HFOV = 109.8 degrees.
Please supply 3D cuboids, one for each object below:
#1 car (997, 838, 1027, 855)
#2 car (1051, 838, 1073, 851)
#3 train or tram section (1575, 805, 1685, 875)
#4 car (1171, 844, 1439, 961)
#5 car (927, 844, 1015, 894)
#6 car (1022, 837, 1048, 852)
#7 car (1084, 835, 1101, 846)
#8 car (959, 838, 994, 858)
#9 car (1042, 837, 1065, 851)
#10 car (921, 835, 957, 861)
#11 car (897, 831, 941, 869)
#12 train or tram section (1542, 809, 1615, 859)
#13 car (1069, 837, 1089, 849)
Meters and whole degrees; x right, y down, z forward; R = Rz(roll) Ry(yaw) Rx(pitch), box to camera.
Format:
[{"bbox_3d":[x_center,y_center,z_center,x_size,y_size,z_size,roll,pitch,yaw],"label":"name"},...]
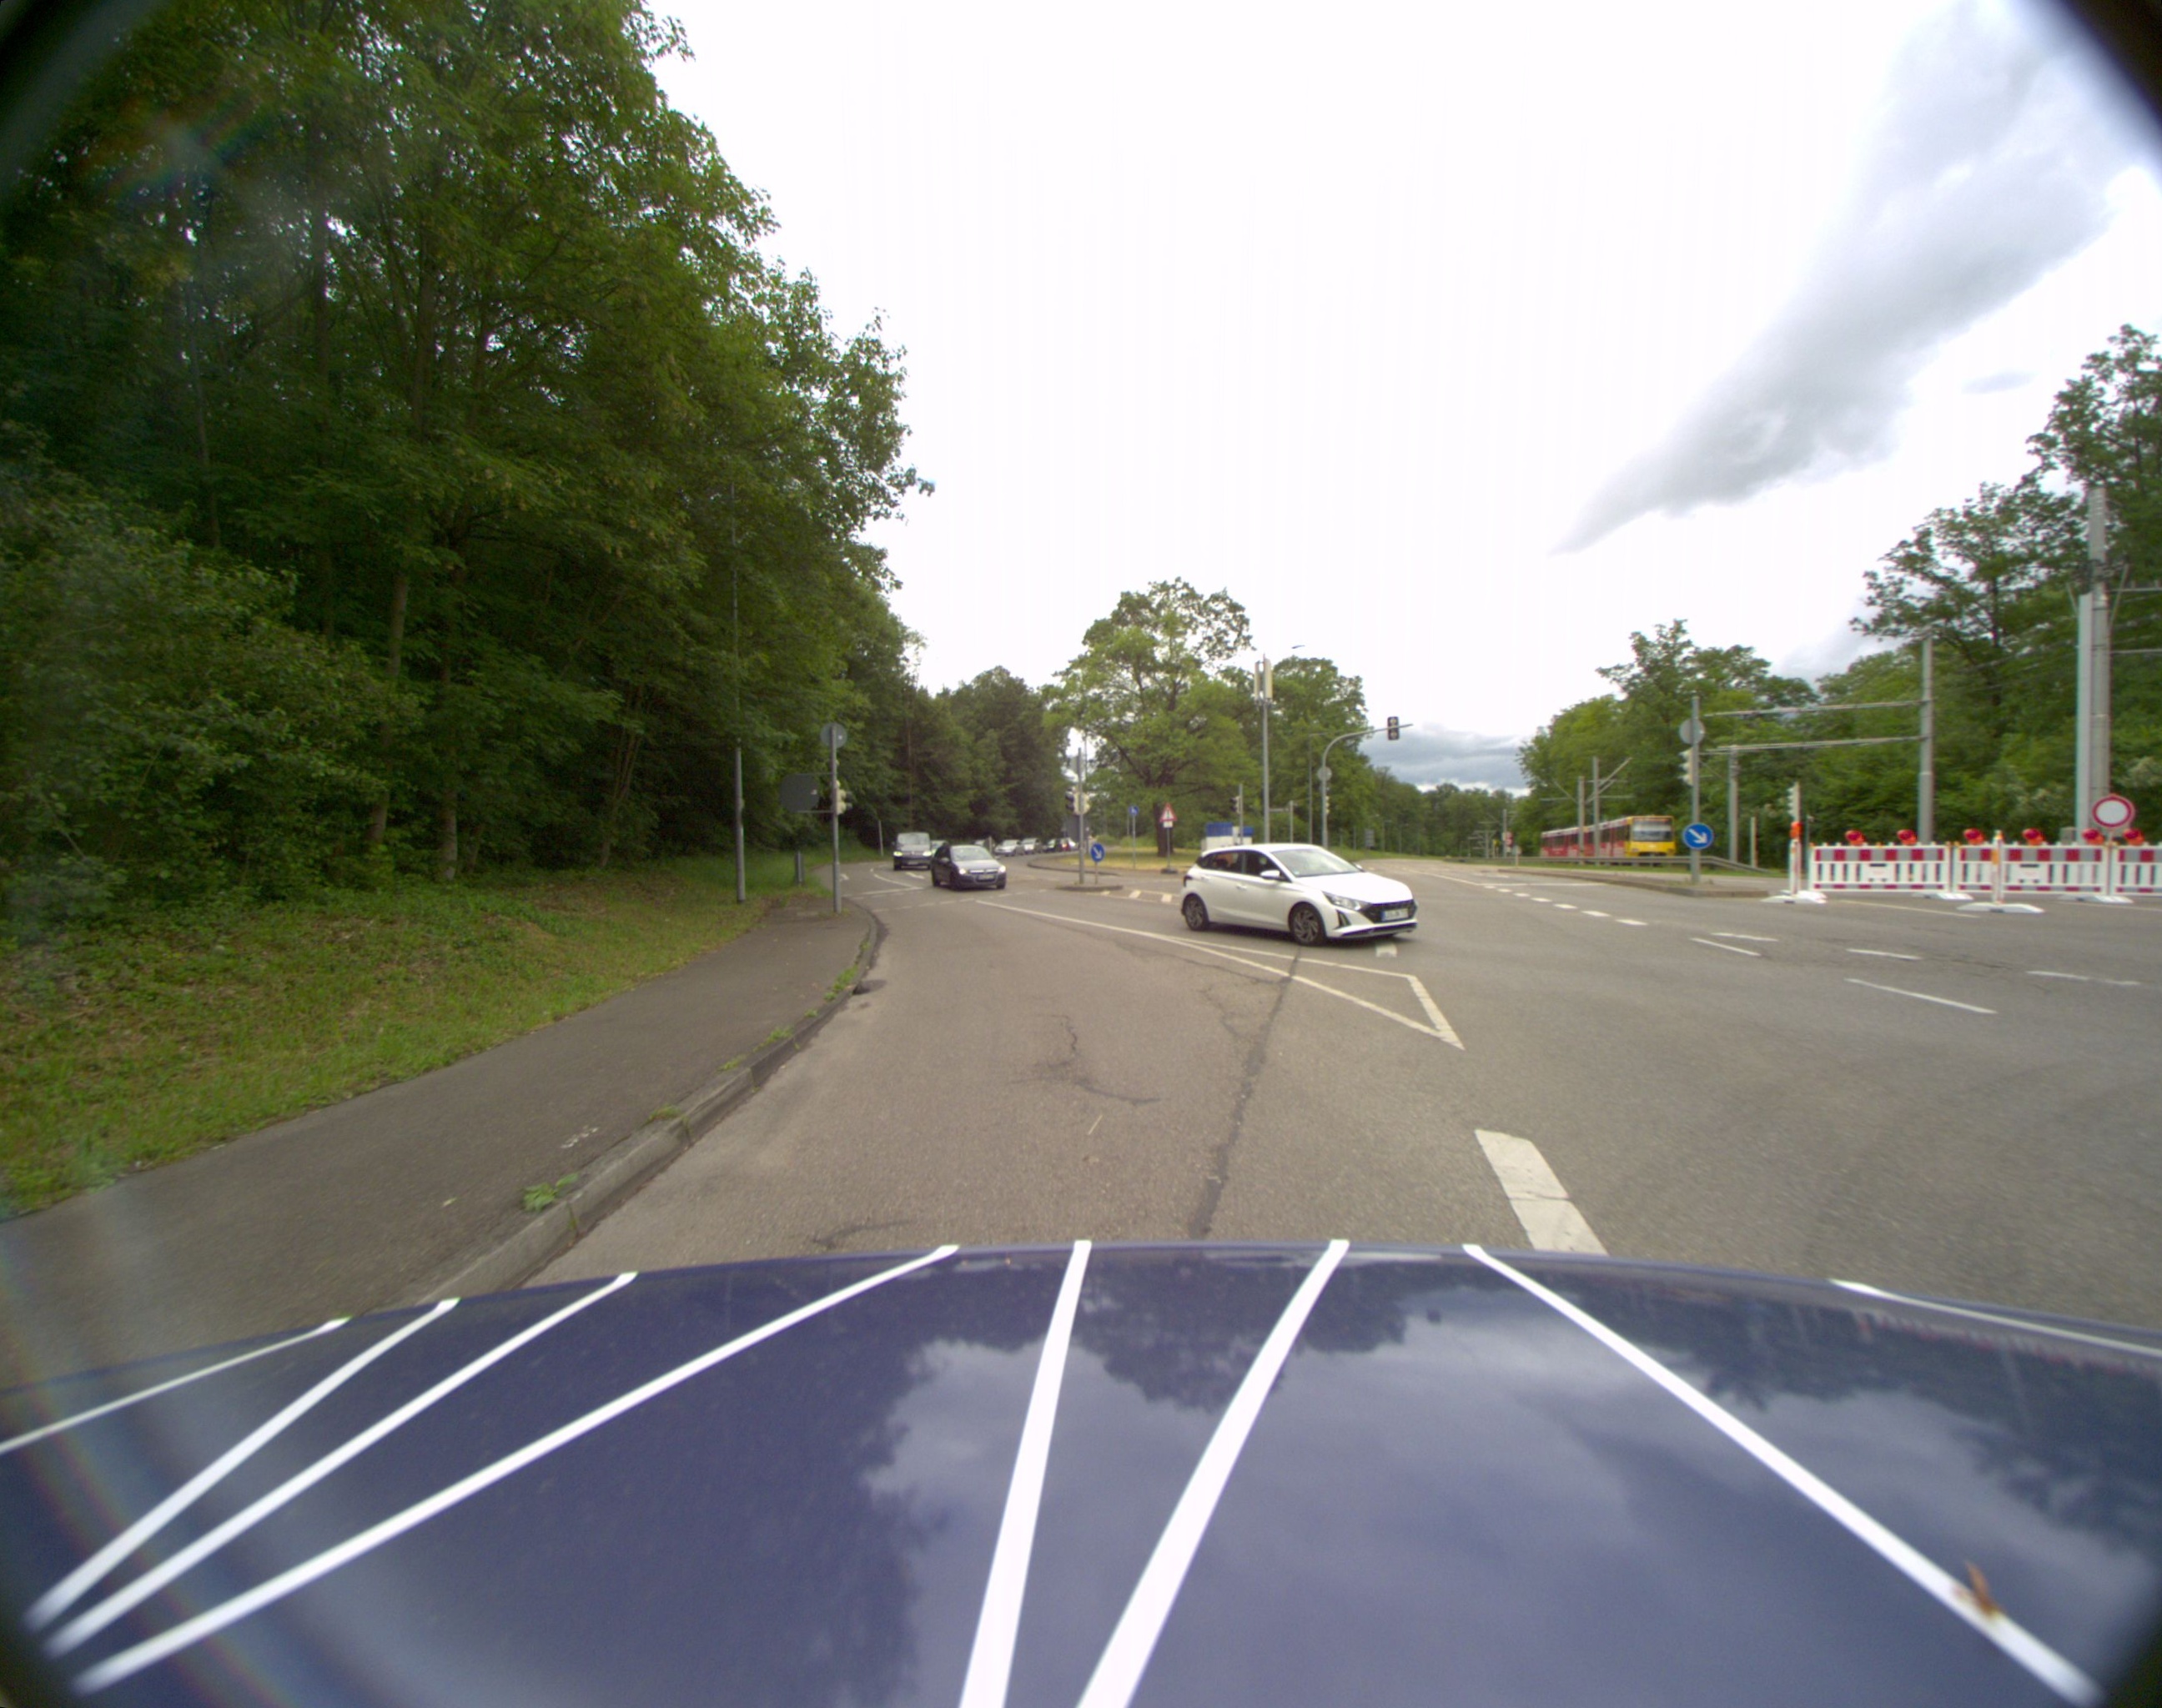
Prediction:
[{"bbox_3d":[-6.127,-0.681,67.553,1.777,1.491,3.874,0,1,8],"label":"car"},{"bbox_3d":[-2.123,-1.133,86.836,1.776,1.491,3.875,1,1,11],"label":"car"},{"bbox_3d":[42.423,-1.385,59.614,2.949,4.625,18.568,1,3,24],"label":"train or tram section"},{"bbox_3d":[3.277,0.602,11.967,1.657,1.471,4.063,-1,2,-28],"label":"car"},{"bbox_3d":[-3.786,0.417,25.545,1.806,1.471,4.460,0,1,-24],"label":"car"},{"bbox_3d":[-4.500,-0.948,74.616,1.777,1.491,3.874,0,1,8],"label":"car"},{"bbox_3d":[1.721,-1.979,110.529,1.776,1.491,3.875,1,1,11],"label":"car"},{"bbox_3d":[-8.402,-0.501,61.352,1.777,1.491,3.874,0,1,8],"label":"car"},{"bbox_3d":[-2.939,-1.066,81.012,1.777,1.491,3.874,0,1,8],"label":"car"},{"bbox_3d":[-9.592,-0.411,51.484,1.793,1.664,3.989,-1,1,-2],"label":"car"},{"bbox_3d":[-8.458,-0.232,39.372,1.993,1.862,4.524,0,1,-15],"label":"car"},{"bbox_3d":[49.820,-2.256,76.735,2.958,4.395,18.752,1,3,23],"label":"train or tram section"},{"bbox_3d":[-0.226,-1.366,94.291,1.776,1.491,3.875,1,1,11],"label":"car"}]
